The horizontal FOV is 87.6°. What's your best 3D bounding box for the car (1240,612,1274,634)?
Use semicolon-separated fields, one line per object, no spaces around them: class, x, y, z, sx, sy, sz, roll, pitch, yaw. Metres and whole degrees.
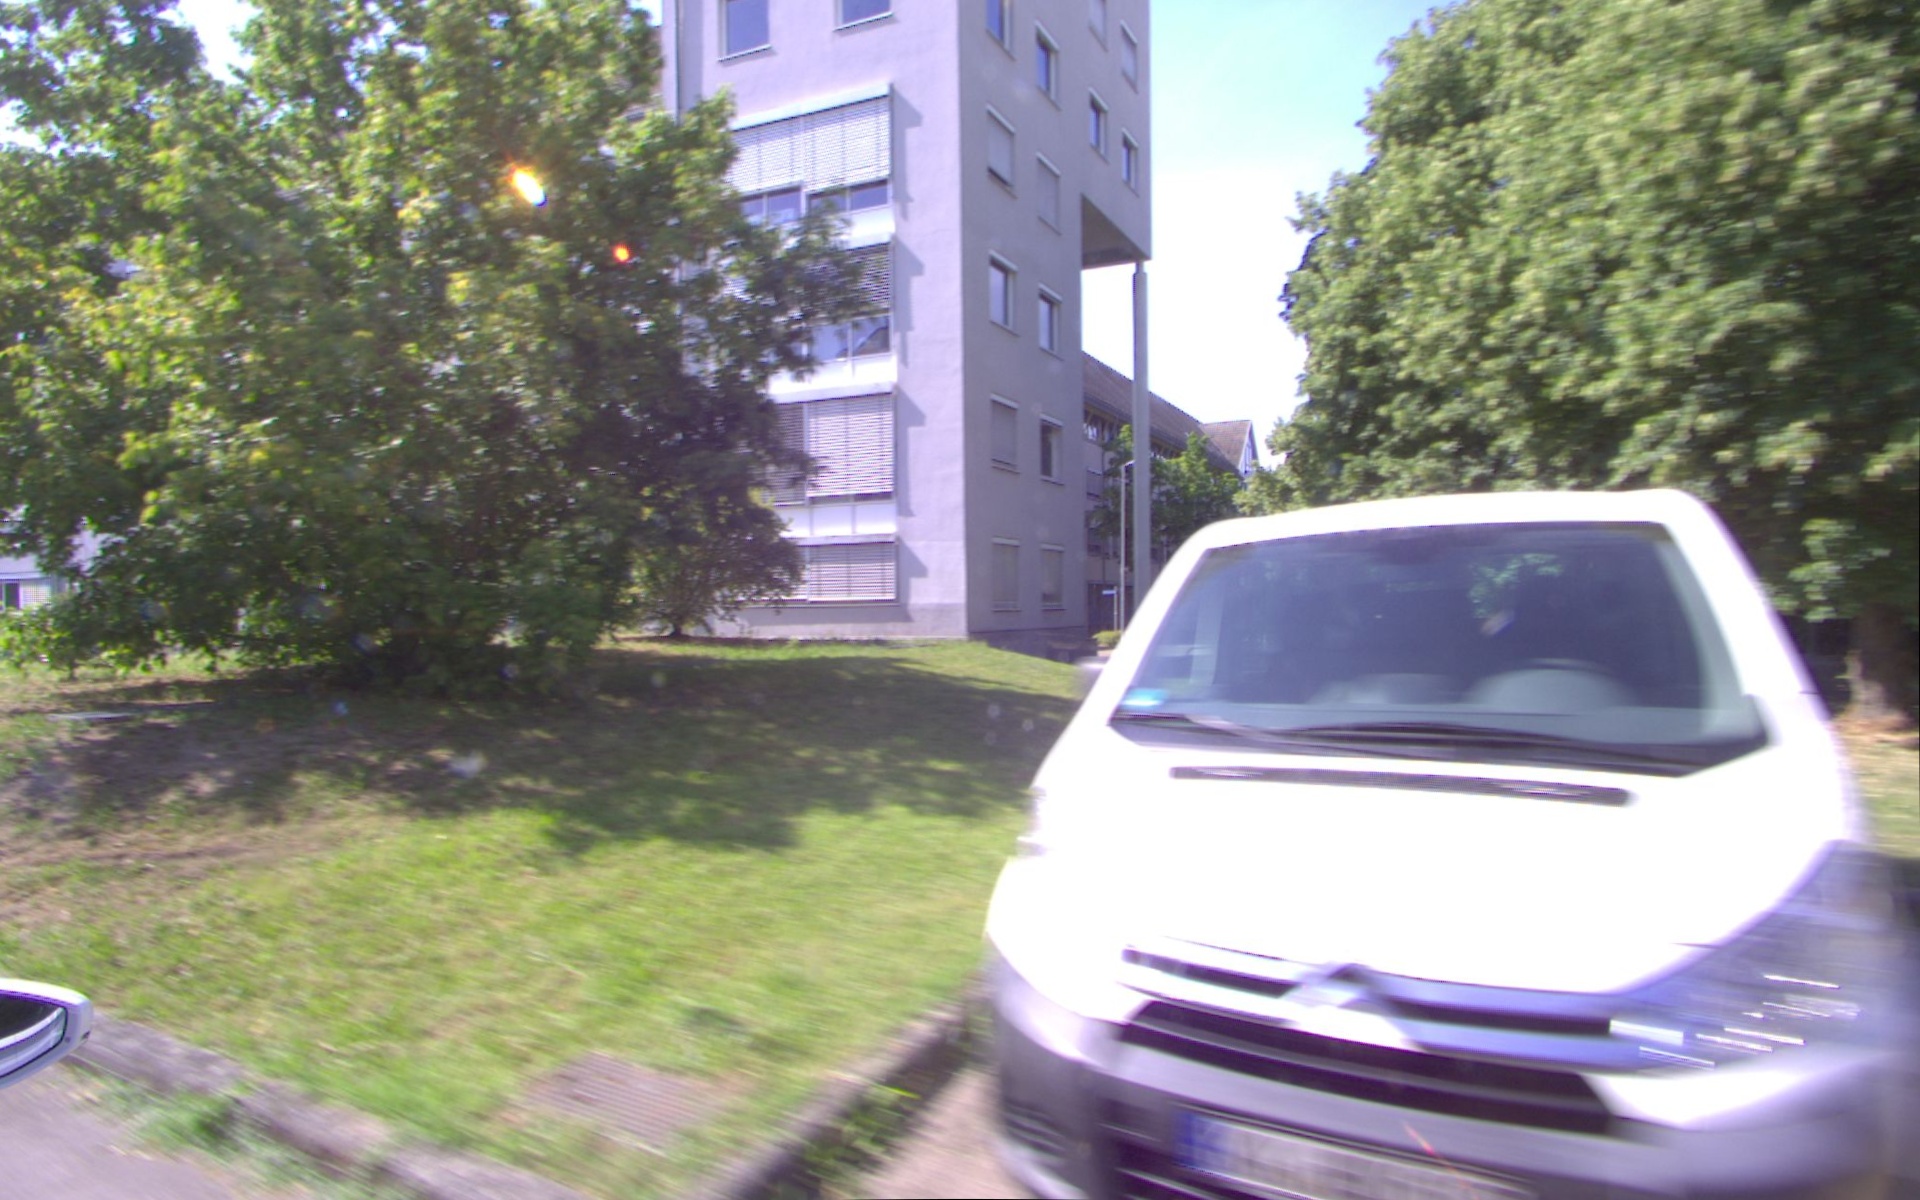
car;21.337;1.631;71.812;1.655;1.545;3.985;0;0;27

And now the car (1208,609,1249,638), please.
car;16.237;1.376;60.423;1.830;1.617;3.987;0;1;23

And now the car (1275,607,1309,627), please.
car;27.968;1.405;84.268;1.865;1.639;4.288;0;0;30

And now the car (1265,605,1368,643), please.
car;17.015;1.107;47.824;4.372;1.662;1.990;0;1;31

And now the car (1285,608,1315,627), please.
car;31.810;1.602;93.631;1.969;1.617;3.982;1;1;28

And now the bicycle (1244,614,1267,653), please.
bicycle;8.288;0.919;28.082;0.388;1.063;1.444;0;0;26

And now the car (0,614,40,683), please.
car;-21.234;1.027;19.928;1.663;1.412;3.983;0;1;28

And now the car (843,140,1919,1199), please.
car;1.831;0.396;3.874;1.970;1.958;5.017;0;0;30

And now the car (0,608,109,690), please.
car;-18.316;0.915;18.169;1.782;1.446;3.985;0;1;26
